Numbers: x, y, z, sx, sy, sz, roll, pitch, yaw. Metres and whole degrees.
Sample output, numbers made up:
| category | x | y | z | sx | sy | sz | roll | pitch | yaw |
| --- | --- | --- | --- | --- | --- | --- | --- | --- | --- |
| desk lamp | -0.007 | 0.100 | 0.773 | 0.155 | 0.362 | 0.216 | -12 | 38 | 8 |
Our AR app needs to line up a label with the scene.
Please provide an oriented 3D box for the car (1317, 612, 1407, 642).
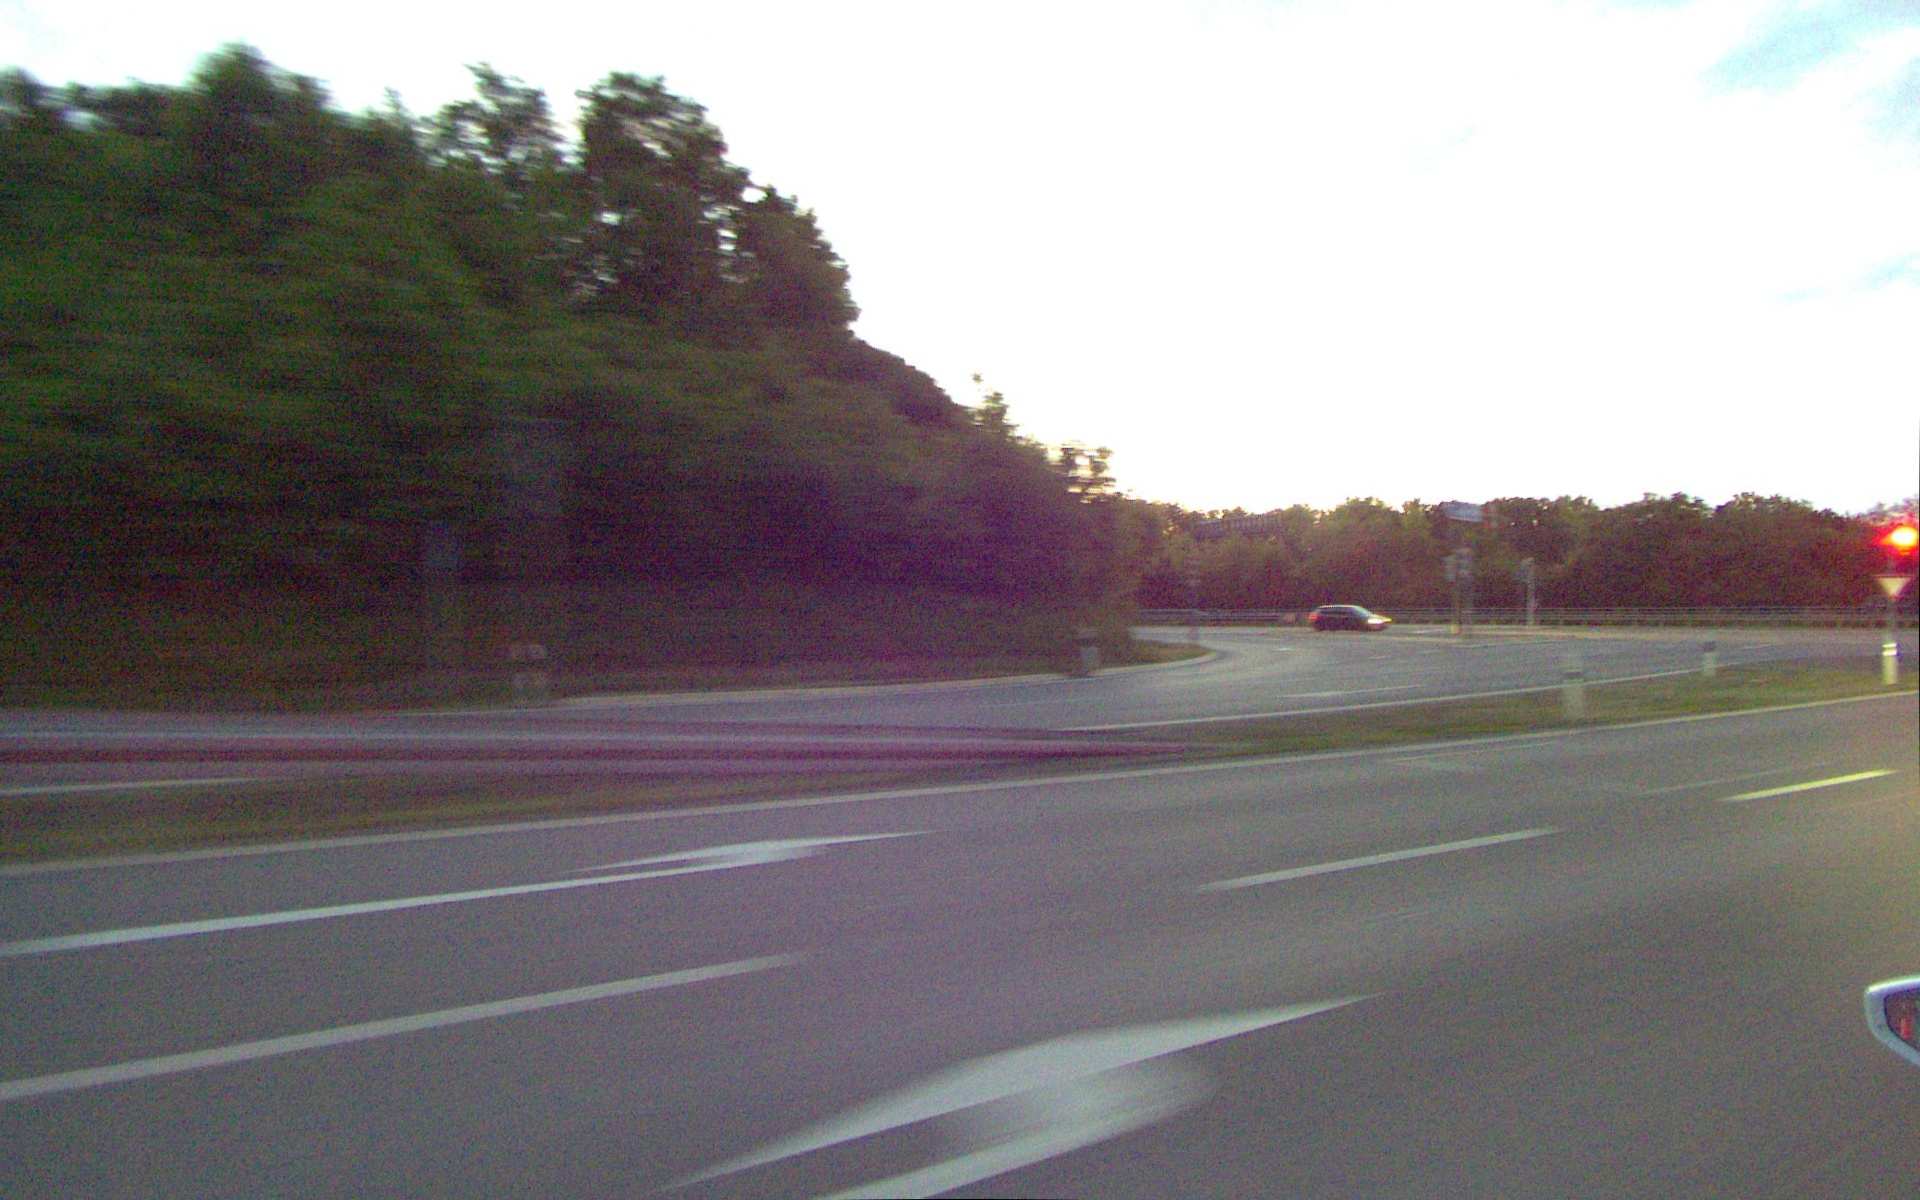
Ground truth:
| category | x | y | z | sx | sy | sz | roll | pitch | yaw |
| --- | --- | --- | --- | --- | --- | --- | --- | --- | --- |
| car | 21.043 | 1.438 | 52.720 | 1.987 | 1.472 | 3.948 | 2 | -3 | -44 |
